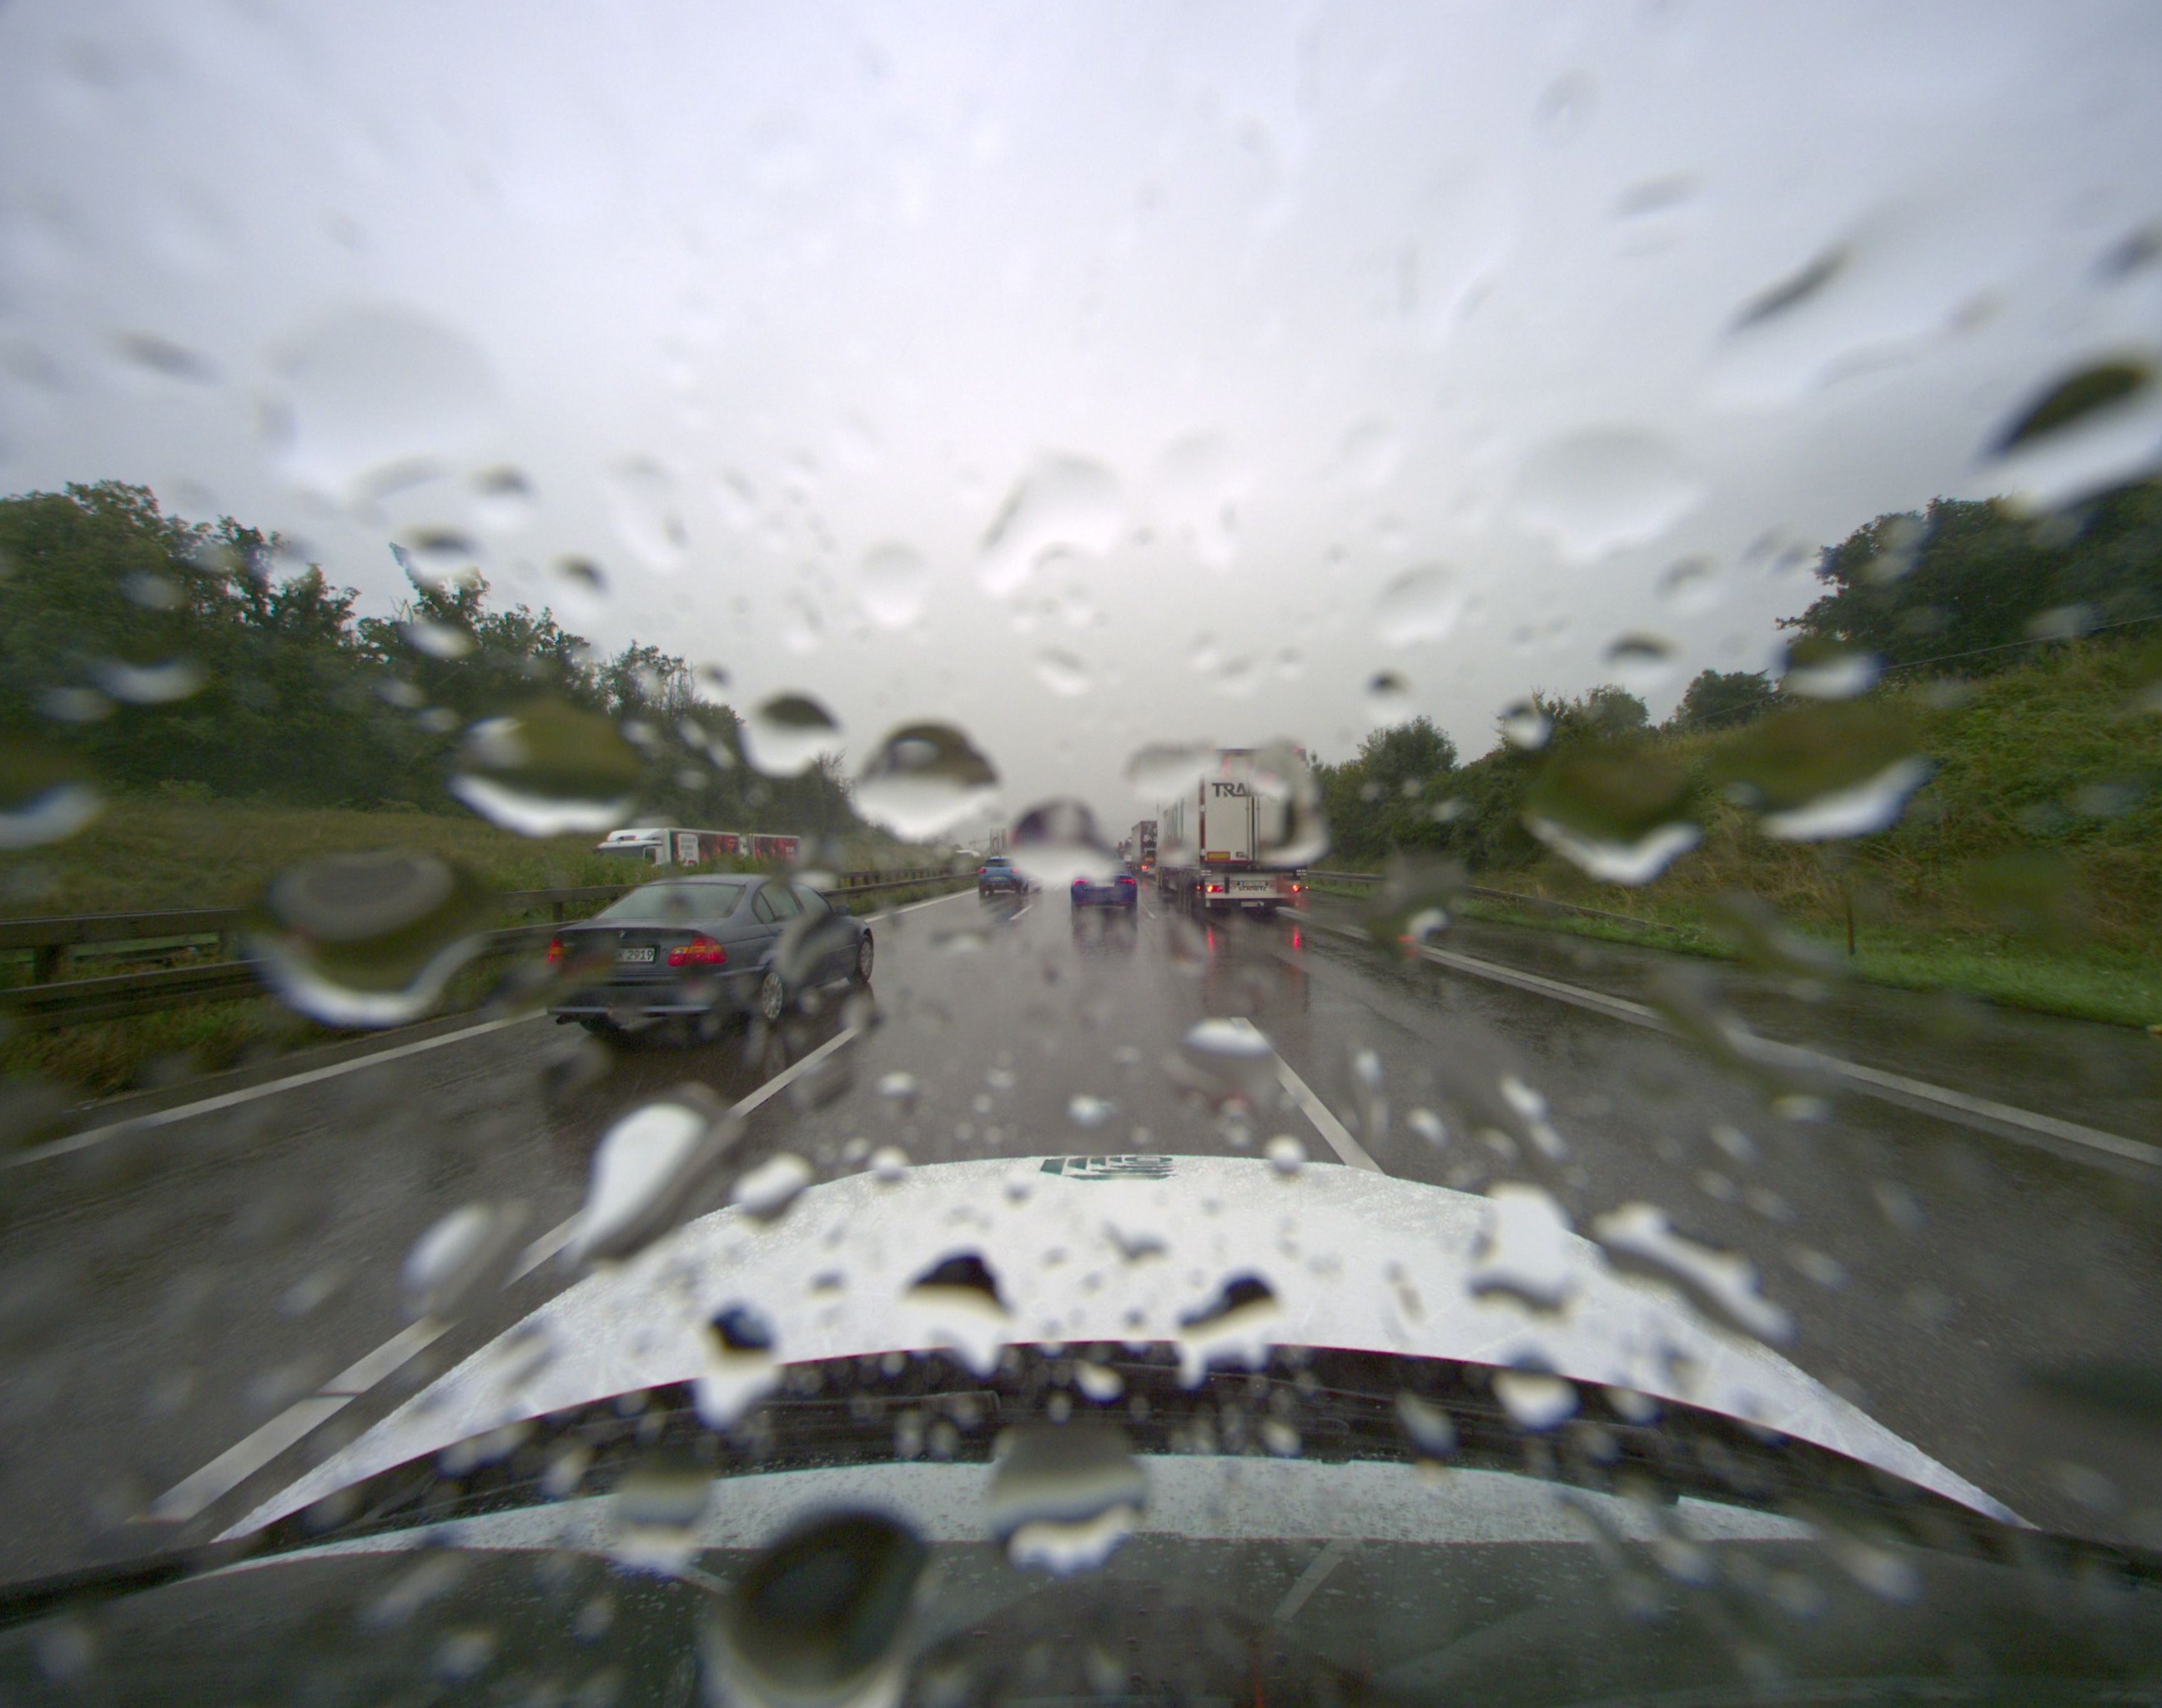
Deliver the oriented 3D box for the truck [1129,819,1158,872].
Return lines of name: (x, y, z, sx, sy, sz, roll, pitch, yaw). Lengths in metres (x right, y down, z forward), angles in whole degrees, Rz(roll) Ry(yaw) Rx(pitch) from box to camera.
truck: (5.063, -0.663, 66.336, 2.039, 4.193, 4.001, -1, 0, 1)

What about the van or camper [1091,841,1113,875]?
van or camper: (1.807, 0.364, 70.154, 1.791, 2.806, 4.769, -1, 0, 1)

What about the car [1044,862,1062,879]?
car: (-2.570, 1.507, 75.263, 1.434, 1.420, 3.322, -1, 0, 1)

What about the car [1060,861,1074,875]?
car: (-1.574, 1.538, 91.263, 1.434, 1.533, 3.322, -1, 0, 1)

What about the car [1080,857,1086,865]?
car: (0.448, 1.599, 187.512, 1.443, 1.784, 3.410, 0, -1, 1)

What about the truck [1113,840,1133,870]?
truck: (4.978, 0.033, 97.852, 1.987, 3.421, 8.031, -1, 0, 0)

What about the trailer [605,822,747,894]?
trailer: (-19.523, 0.173, 40.079, 1.986, 3.082, 9.557, -1, 0, 1)

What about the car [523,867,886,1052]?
car: (-3.522, 0.875, 8.622, 1.711, 1.400, 4.232, -1, 0, 2)

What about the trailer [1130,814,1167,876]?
trailer: (4.926, -0.627, 60.768, 2.039, 4.176, 11.451, -1, 0, 1)

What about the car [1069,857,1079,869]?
car: (-1.049, 1.345, 122.811, 1.443, 1.784, 3.410, 0, -1, 1)

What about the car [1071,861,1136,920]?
car: (0.639, 0.933, 22.648, 1.629, 1.445, 4.002, -1, 0, 2)

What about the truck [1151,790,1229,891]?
truck: (4.381, -0.532, 33.612, 2.621, 3.827, 4.792, -1, 0, 1)

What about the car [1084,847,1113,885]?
car: (0.862, 0.570, 39.797, 1.332, 1.780, 3.322, -1, 0, 1)

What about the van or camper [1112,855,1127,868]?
van or camper: (5.083, 0.996, 107.628, 1.765, 1.625, 4.485, -1, 0, 1)

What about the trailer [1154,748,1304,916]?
trailer: (4.227, -0.535, 26.978, 2.621, 4.013, 14.633, -1, 0, 1)

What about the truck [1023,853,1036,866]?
truck: (-12.054, 1.344, 191.468, 2.472, 2.719, 4.530, -3, -2, 2)

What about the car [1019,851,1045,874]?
car: (-3.114, 0.531, 52.316, 1.354, 1.431, 3.364, -1, 0, 1)

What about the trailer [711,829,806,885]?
trailer: (-19.289, 0.171, 49.319, 1.986, 3.082, 8.874, -1, 0, 1)

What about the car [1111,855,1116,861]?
car: (9.390, 1.157, 234.575, 1.443, 1.784, 3.410, 0, -1, 1)

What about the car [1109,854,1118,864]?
car: (5.860, 0.924, 146.280, 1.443, 1.784, 3.410, 0, -1, 1)

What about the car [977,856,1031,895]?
car: (-3.186, 0.850, 34.462, 1.715, 1.523, 4.002, -1, 0, 2)
